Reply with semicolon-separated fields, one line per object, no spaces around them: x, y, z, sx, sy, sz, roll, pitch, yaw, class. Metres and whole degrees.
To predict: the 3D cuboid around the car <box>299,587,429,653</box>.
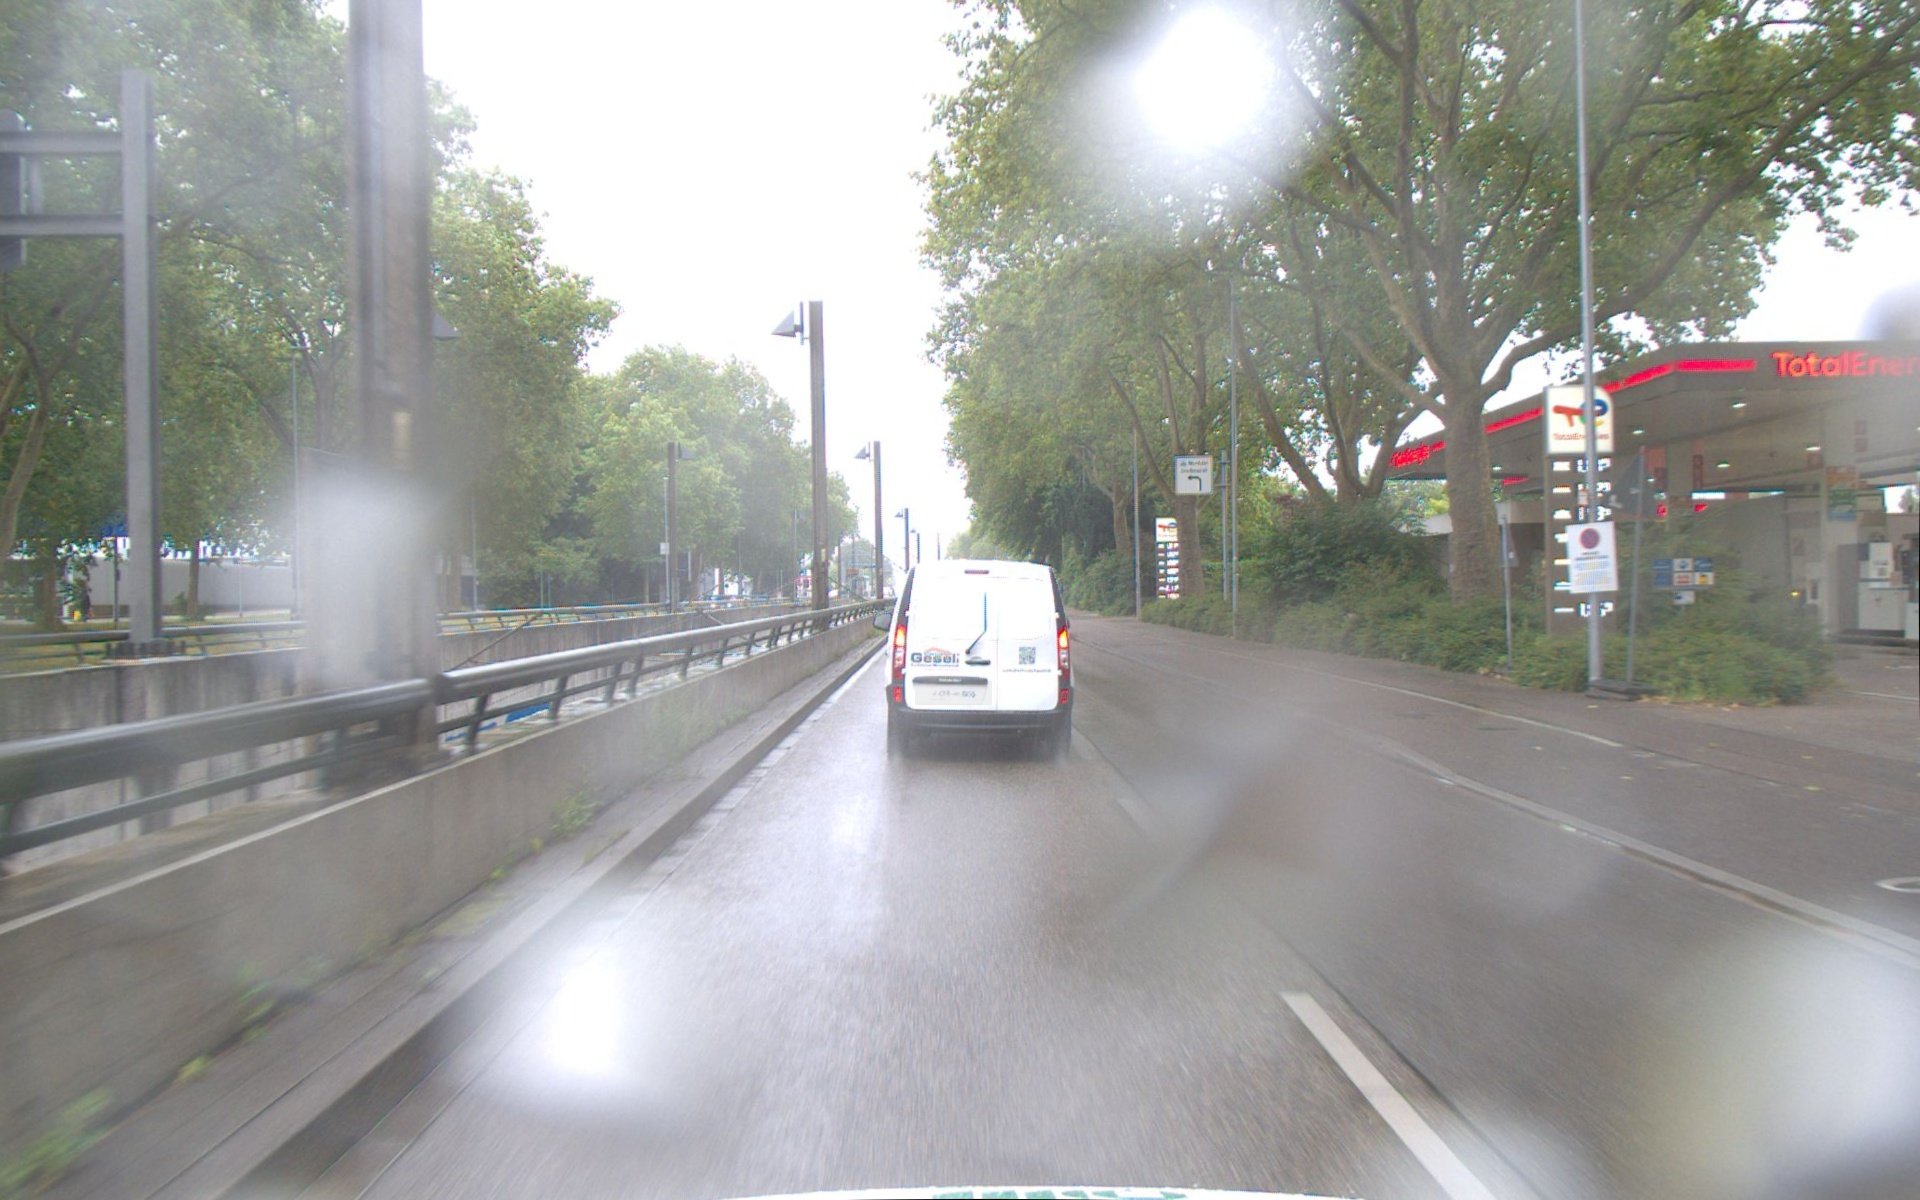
-15.522;0.485;43.316;1.868;1.598;4.001;-1;0;1;car

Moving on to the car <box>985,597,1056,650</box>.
1.965;0.760;54.781;1.954;1.613;3.997;-2;0;-3;car

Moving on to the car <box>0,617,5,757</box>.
-12.248;1.037;17.313;1.953;1.661;4.578;-1;0;-2;car

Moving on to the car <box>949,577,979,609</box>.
0.309;-0.474;114.484;2.006;2.177;4.000;-1;0;1;car

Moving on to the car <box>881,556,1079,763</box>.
0.133;0.525;16.455;1.720;1.808;3.999;0;0;-1;car

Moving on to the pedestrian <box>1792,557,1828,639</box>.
18.614;-0.043;36.222;0.542;1.755;0.726;-2;0;18;pedestrian
